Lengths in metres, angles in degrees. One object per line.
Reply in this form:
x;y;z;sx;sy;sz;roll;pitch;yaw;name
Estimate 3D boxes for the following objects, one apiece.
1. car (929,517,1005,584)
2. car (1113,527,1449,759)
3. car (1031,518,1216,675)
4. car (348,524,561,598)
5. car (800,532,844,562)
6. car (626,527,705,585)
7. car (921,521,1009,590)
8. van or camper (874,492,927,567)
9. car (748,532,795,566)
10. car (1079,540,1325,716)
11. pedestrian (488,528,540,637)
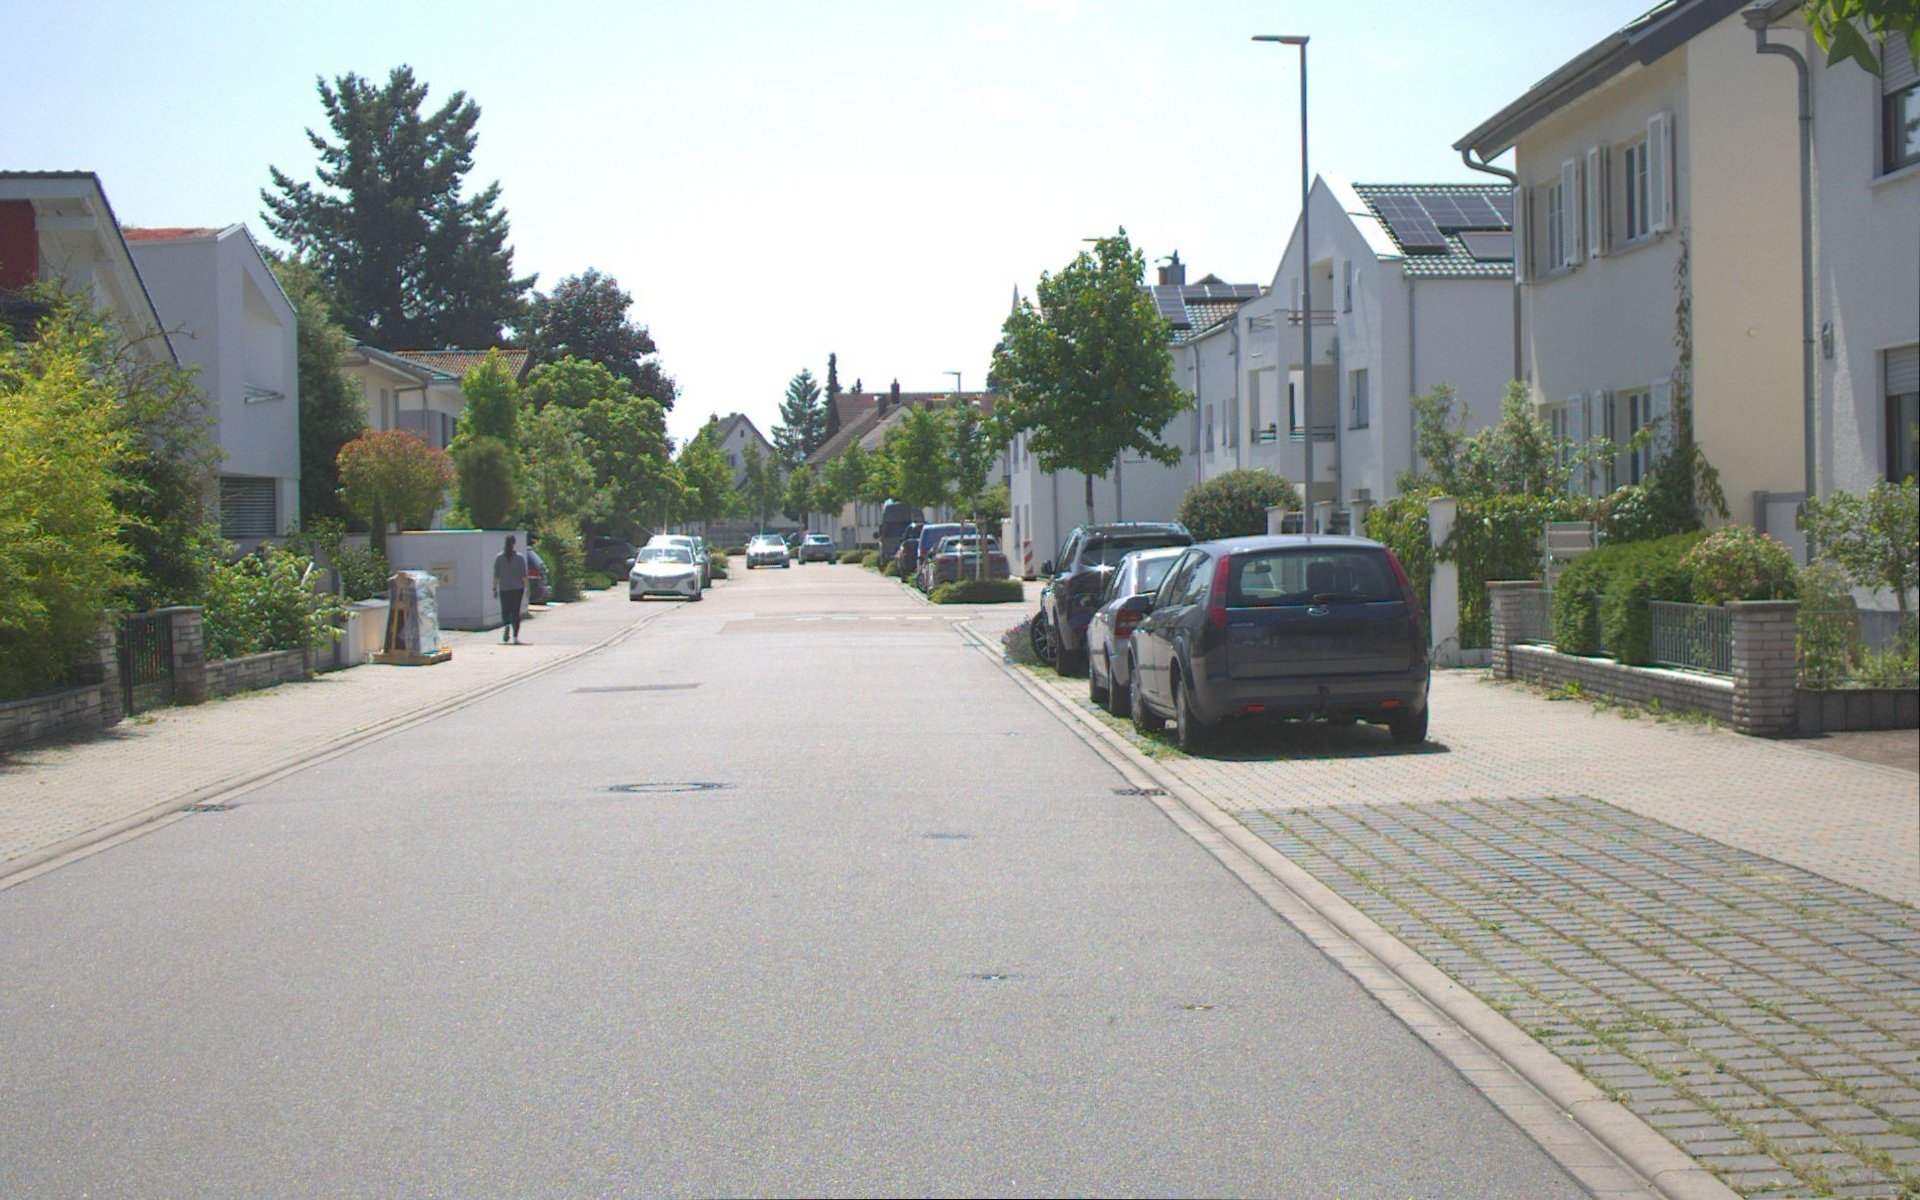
0.175;-1.462;100.277;2.099;1.875;4.843;-1;1;-1;car
2.257;0.245;25.297;1.741;1.528;4.450;-1;1;-4;car
1.839;-0.095;39.923;1.814;1.650;4.565;-1;2;-1;car
-11.352;-0.885;77.416;4.429;1.468;1.850;2;1;2;car
-6.749;-2.598;168.645;1.993;1.425;4.000;-1;1;0;car
-7.845;-1.181;91.780;1.852;1.483;4.386;-1;1;-2;car
0.096;-1.093;83.407;1.773;1.590;4.280;-1;1;-4;car
-2.433;-2.862;139.427;1.993;2.931;4.001;-1;1;-2;van or camper
-8.577;-2.331;156.715;1.853;1.473;4.700;-1;1;0;car
2.100;0.198;30.908;1.814;1.415;4.093;-1;1;-1;car
-7.221;-0.293;55.700;0.714;1.741;0.961;-1;1;-2;pedestrian
